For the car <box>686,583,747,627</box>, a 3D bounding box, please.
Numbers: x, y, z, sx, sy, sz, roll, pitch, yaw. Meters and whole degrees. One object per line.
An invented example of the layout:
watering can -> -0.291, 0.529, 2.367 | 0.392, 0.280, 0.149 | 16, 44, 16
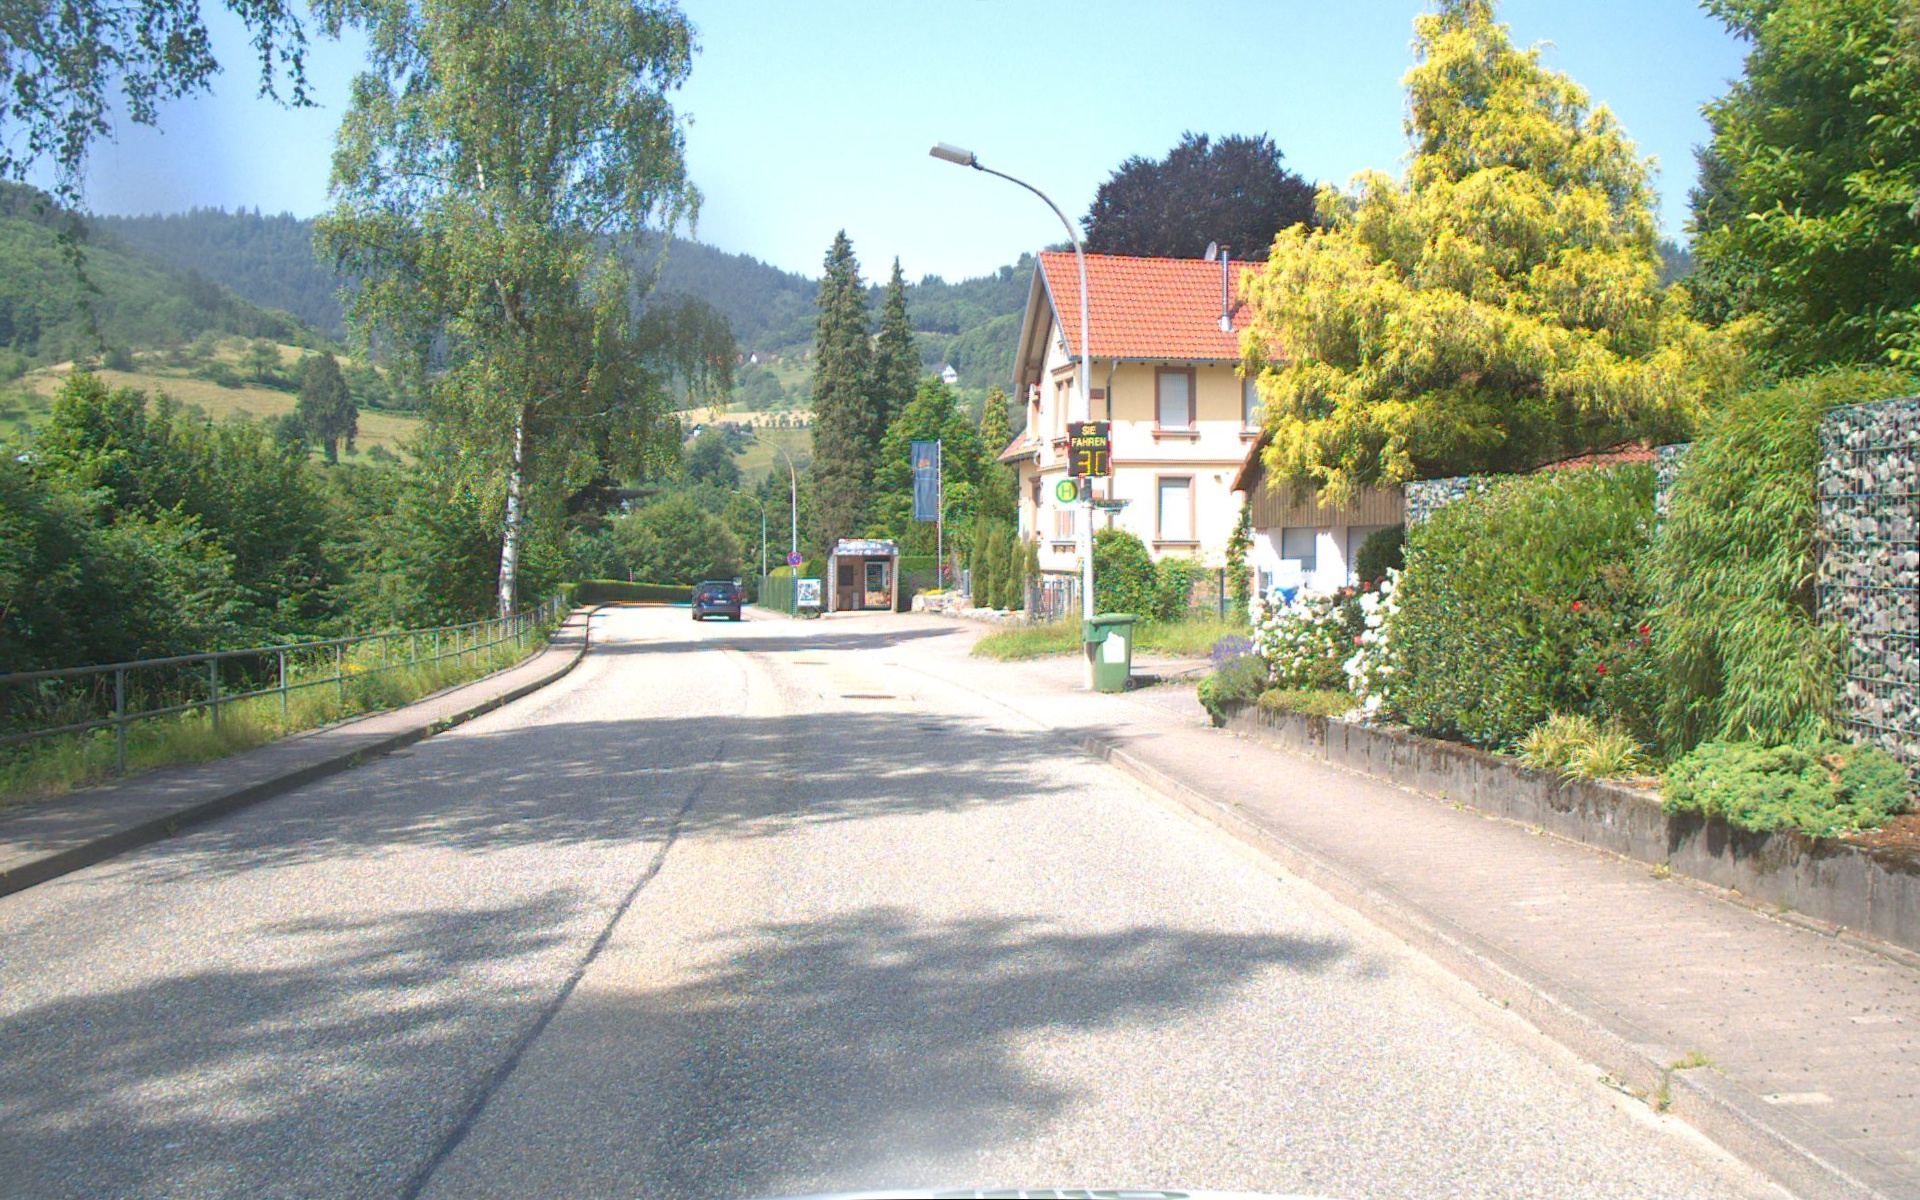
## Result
car -> -10.169, 0.202, 68.878 | 1.890, 1.728, 3.769 | -1, 0, -18

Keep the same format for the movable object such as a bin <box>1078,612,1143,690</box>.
movable object such as a bin -> 2.118, 0.708, 23.301 | 0.793, 1.060, 0.578 | -1, 1, -7

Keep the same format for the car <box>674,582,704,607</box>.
car -> -16.226, -0.332, 99.151 | 1.597, 1.447, 3.394 | 0, 0, -6
